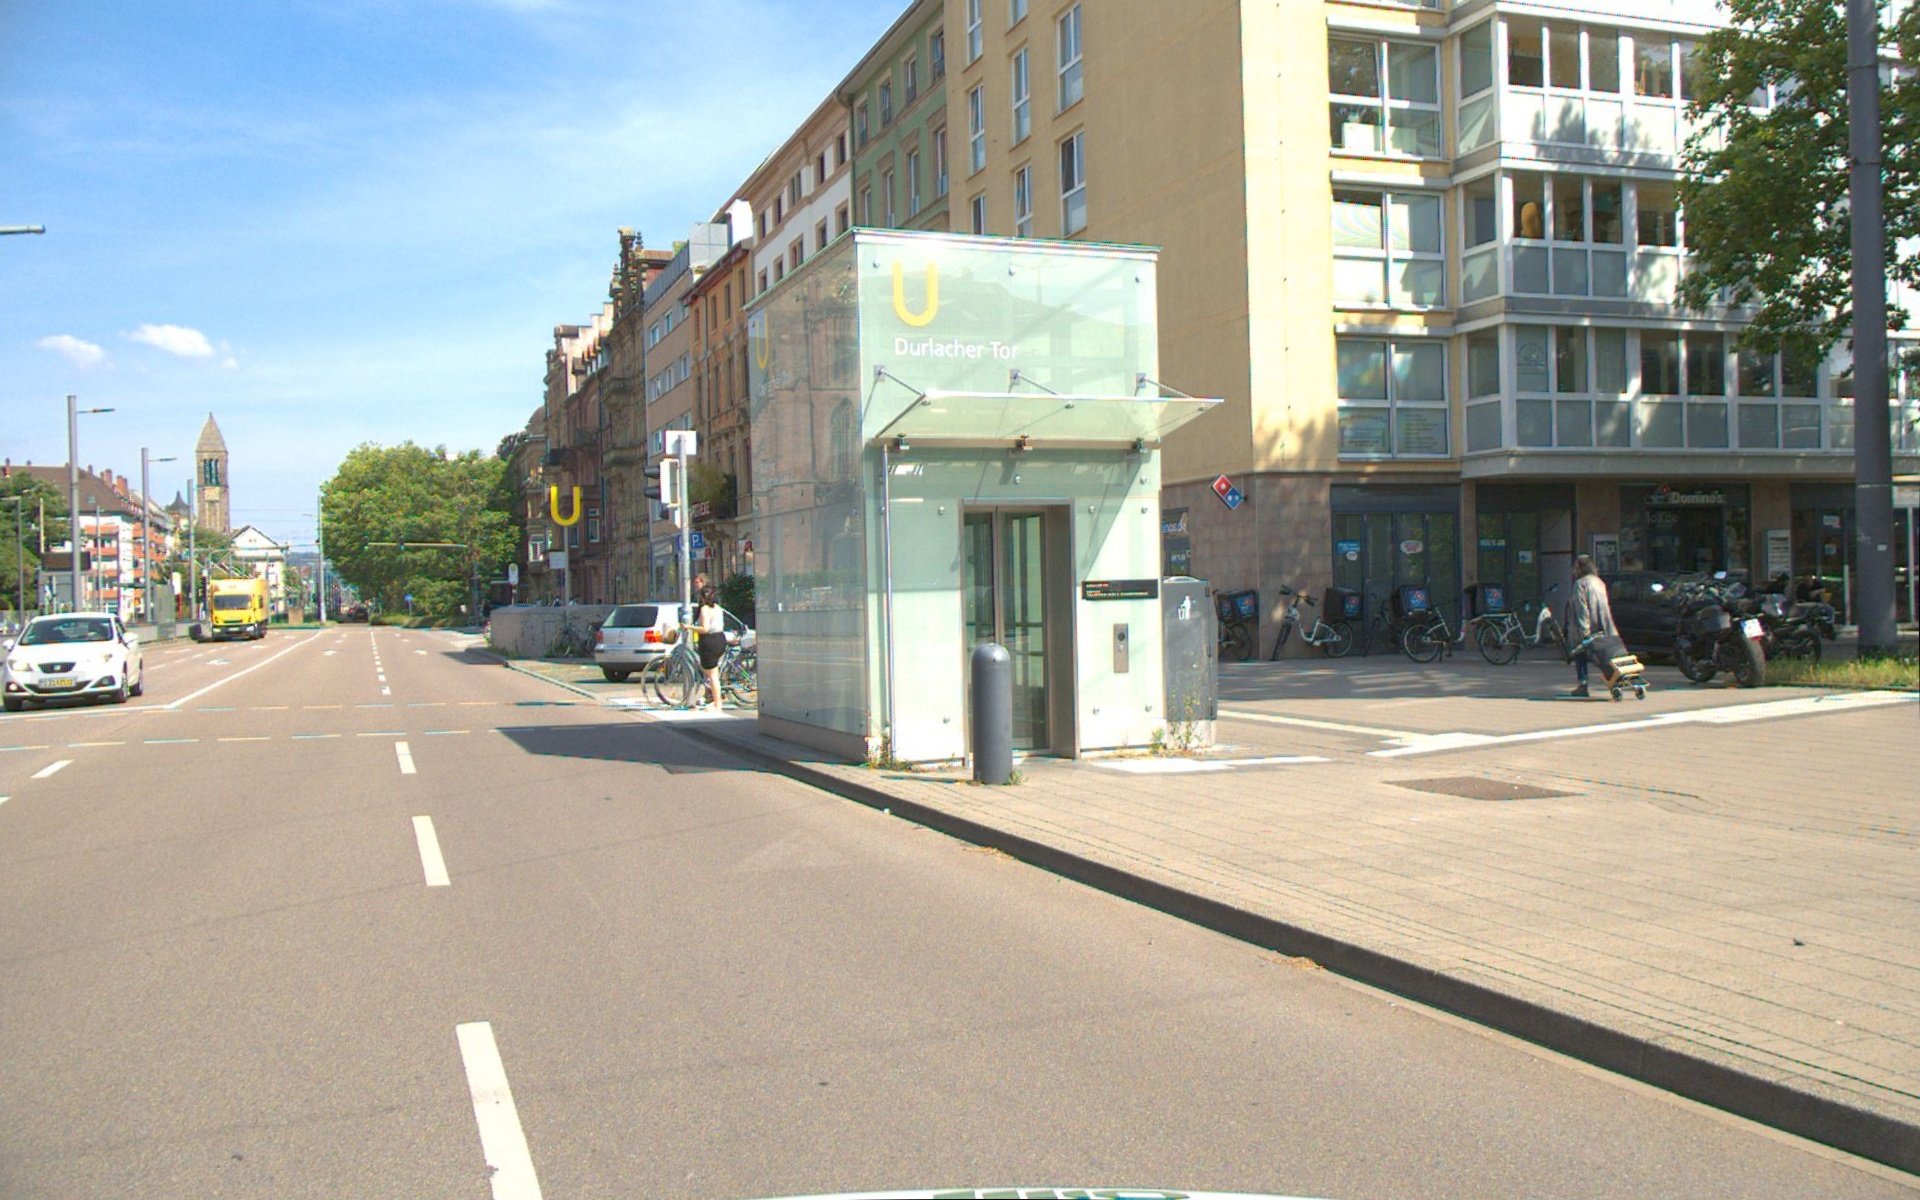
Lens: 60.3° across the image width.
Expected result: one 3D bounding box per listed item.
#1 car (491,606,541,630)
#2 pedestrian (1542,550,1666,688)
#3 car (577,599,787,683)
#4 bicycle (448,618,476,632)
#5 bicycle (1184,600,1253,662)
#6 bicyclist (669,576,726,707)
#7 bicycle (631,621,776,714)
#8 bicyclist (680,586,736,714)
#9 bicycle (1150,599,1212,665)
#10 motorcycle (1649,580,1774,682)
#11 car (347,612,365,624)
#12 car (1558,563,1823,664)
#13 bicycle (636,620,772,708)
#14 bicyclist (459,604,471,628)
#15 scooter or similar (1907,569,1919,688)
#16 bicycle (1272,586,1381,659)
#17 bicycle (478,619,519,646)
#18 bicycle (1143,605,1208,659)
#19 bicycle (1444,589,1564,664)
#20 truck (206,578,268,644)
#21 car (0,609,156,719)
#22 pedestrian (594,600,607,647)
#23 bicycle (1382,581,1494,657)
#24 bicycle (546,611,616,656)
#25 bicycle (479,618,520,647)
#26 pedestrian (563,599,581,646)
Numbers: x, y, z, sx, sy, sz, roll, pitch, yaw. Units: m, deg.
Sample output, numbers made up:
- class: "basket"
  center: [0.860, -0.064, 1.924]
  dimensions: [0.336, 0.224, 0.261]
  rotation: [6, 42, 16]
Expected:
- class: "car"
  center: [-37.394, 1.497, 139.405]
  dimensions: [3.927, 1.780, 1.990]
  rotation: [-2, 2, -19]
- class: "pedestrian"
  center: [6.886, 0.224, 17.734]
  dimensions: [0.646, 1.429, 1.109]
  rotation: [2, -3, -23]
- class: "car"
  center: [-5.165, 0.750, 31.214]
  dimensions: [1.774, 1.465, 3.992]
  rotation: [0, -1, 30]
- class: "bicycle"
  center: [-33.683, 1.678, 111.861]
  dimensions: [1.804, 0.878, 0.477]
  rotation: [-2, 2, -36]
- class: "bicycle"
  center: [4.624, 0.545, 29.727]
  dimensions: [0.572, 1.061, 1.751]
  rotation: [-3, 0, -13]
- class: "bicyclist"
  center: [-3.612, 0.567, 22.784]
  dimensions: [0.608, 1.765, 0.579]
  rotation: [-1, -1, -27]
- class: "bicycle"
  center: [-3.308, 0.863, 21.450]
  dimensions: [1.755, 1.150, 0.754]
  rotation: [-1, -1, -3]
- class: "bicyclist"
  center: [-3.220, 0.634, 21.170]
  dimensions: [0.599, 1.600, 0.733]
  rotation: [-1, -1, -3]
- class: "bicycle"
  center: [3.970, 0.565, 29.810]
  dimensions: [0.571, 1.104, 1.754]
  rotation: [-5, 1, -8]
- class: "motorcycle"
  center: [8.561, 0.326, 18.929]
  dimensions: [0.625, 1.080, 2.039]
  rotation: [-2, 1, 5]
- class: "car"
  center: [-73.952, 2.160, 202.628]
  dimensions: [1.873, 1.400, 3.789]
  rotation: [-2, 0, -23]
- class: "car"
  center: [11.766, 0.214, 26.932]
  dimensions: [1.629, 1.496, 4.070]
  rotation: [1, 0, -19]
- class: "bicycle"
  center: [-3.546, 0.873, 22.951]
  dimensions: [1.769, 1.150, 0.579]
  rotation: [-1, -1, -27]
- class: "bicyclist"
  center: [-33.510, 1.081, 111.966]
  dimensions: [0.634, 1.619, 0.477]
  rotation: [-1, 2, -36]
- class: "scooter or similar"
  center: [9.359, 0.274, 15.317]
  dimensions: [0.504, 1.139, 1.365]
  rotation: [-2, 0, 7]
- class: "bicycle"
  center: [6.514, 0.390, 29.385]
  dimensions: [1.855, 1.206, 0.538]
  rotation: [-2, 1, -19]
- class: "bicycle"
  center: [-17.452, 1.233, 62.569]
  dimensions: [1.440, 0.963, 0.413]
  rotation: [-2, -1, -21]
- class: "bicycle"
  center: [4.067, 0.594, 31.296]
  dimensions: [0.572, 0.982, 1.750]
  rotation: [-3, 0, -15]
- class: "bicycle"
  center: [8.727, 0.412, 26.542]
  dimensions: [1.719, 1.104, 0.582]
  rotation: [-3, 0, -10]
- class: "truck"
  center: [-40.376, 0.636, 92.573]
  dimensions: [2.507, 3.355, 8.972]
  rotation: [-4, 1, -20]
- class: "car"
  center: [-14.059, 0.951, 26.325]
  dimensions: [1.729, 1.422, 4.100]
  rotation: [-6, 2, -20]
- class: "pedestrian"
  center: [-13.098, 0.858, 60.254]
  dimensions: [0.366, 1.694, 0.522]
  rotation: [-2, 0, -20]
- class: "bicycle"
  center: [7.984, 0.317, 27.613]
  dimensions: [1.719, 1.240, 0.582]
  rotation: [1, 0, -10]
- class: "bicycle"
  center: [-10.083, 0.889, 44.013]
  dimensions: [1.717, 1.113, 0.594]
  rotation: [-2, 1, -21]
- class: "bicycle"
  center: [-17.307, 1.218, 62.149]
  dimensions: [1.440, 0.993, 0.413]
  rotation: [-2, 2, -21]
- class: "pedestrian"
  center: [-14.100, 0.815, 60.046]
  dimensions: [0.545, 1.694, 0.522]
  rotation: [-2, 0, -20]
